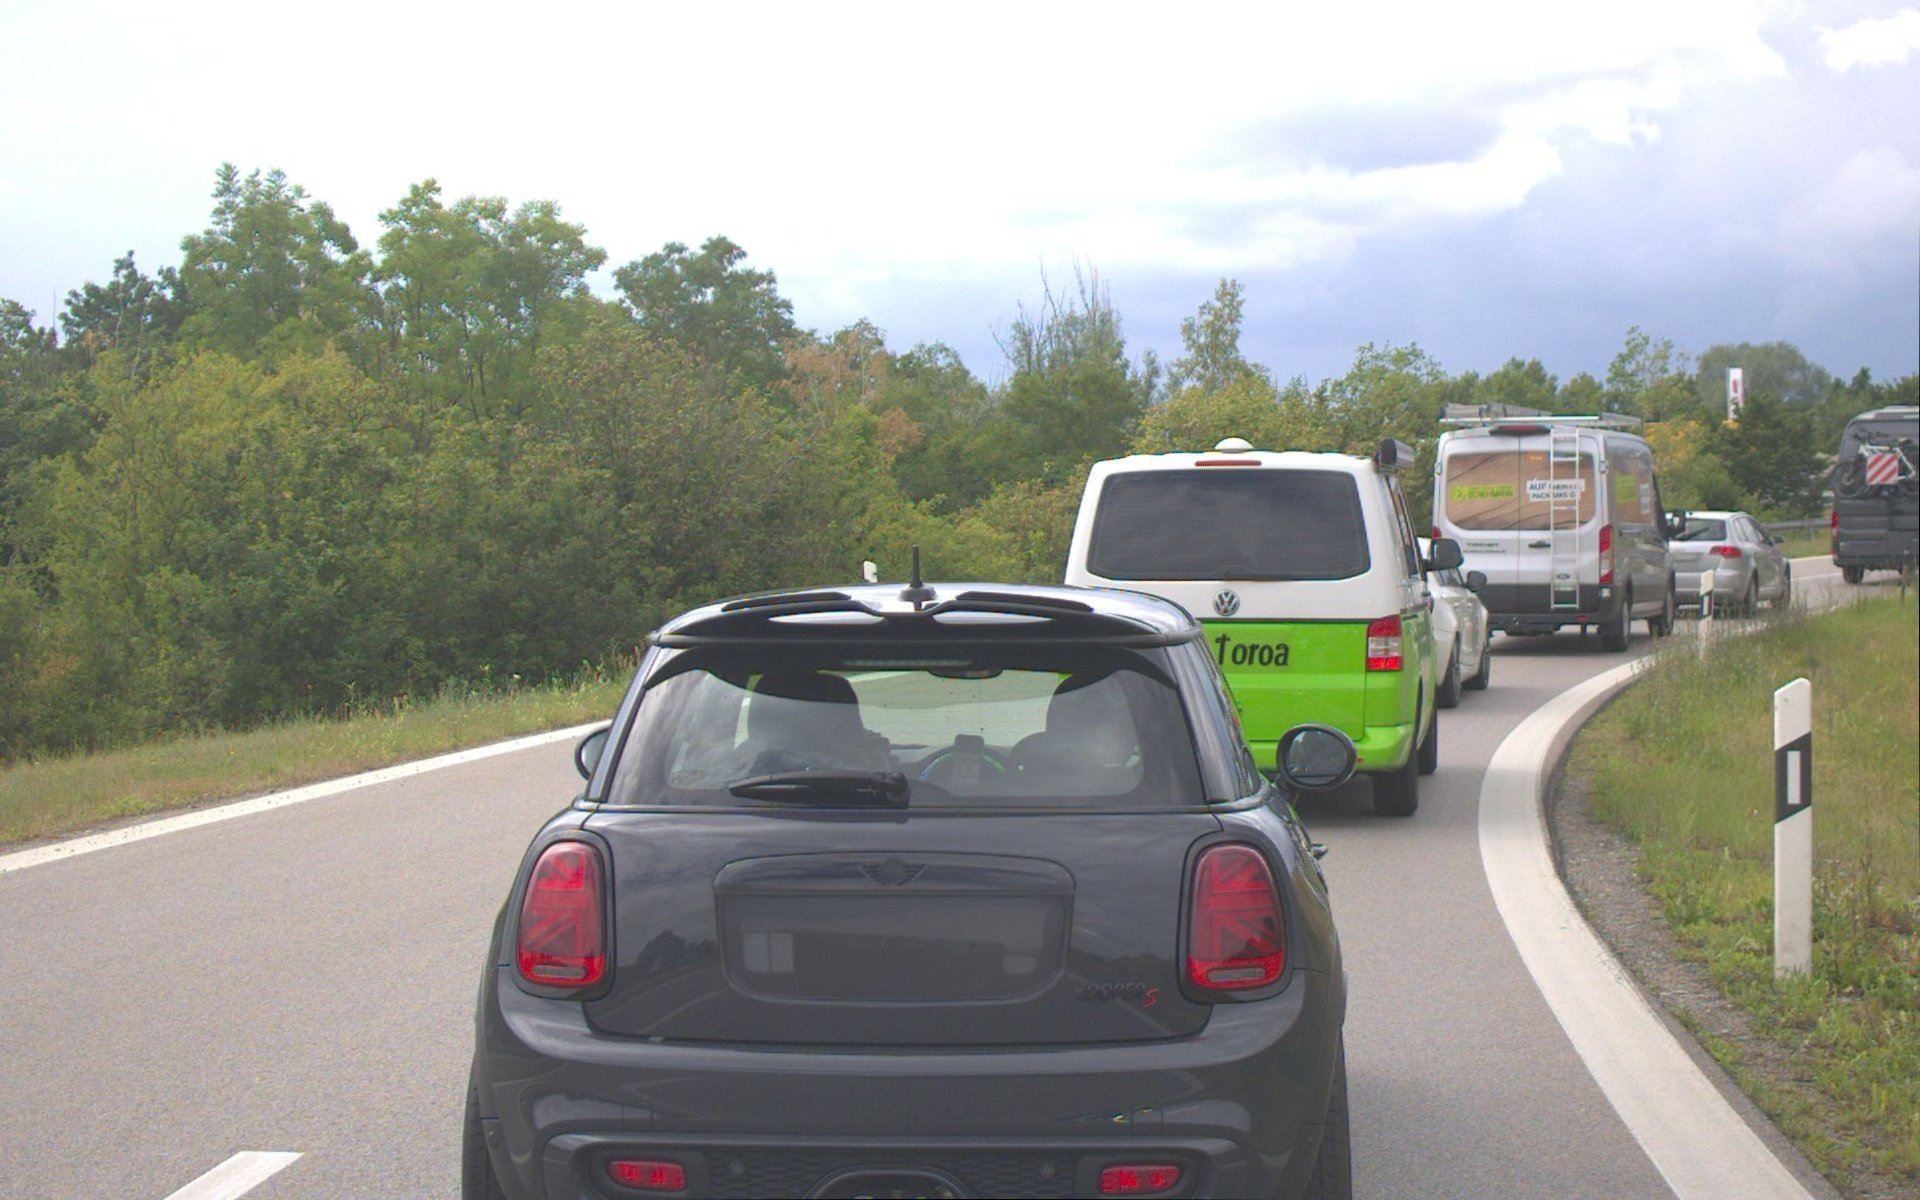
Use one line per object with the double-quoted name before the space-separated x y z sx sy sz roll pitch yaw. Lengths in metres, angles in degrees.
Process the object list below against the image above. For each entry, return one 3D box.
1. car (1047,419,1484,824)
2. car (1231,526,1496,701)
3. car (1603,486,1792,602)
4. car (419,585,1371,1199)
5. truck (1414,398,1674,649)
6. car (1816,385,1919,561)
"car" 1.813 0.088 19.198 1.785 2.007 3.997 1 0 15
"car" 3.505 0.097 29.345 1.763 1.394 3.723 0 0 14
"car" 10.140 -0.744 47.046 1.868 1.505 3.995 0 0 22
"car" 0.041 0.677 8.080 1.727 1.409 3.724 0 0 5
"truck" 6.715 -0.861 39.077 2.180 2.649 5.104 0 1 18
"car" 15.737 -2.050 56.871 2.108 2.787 3.994 1 1 28
